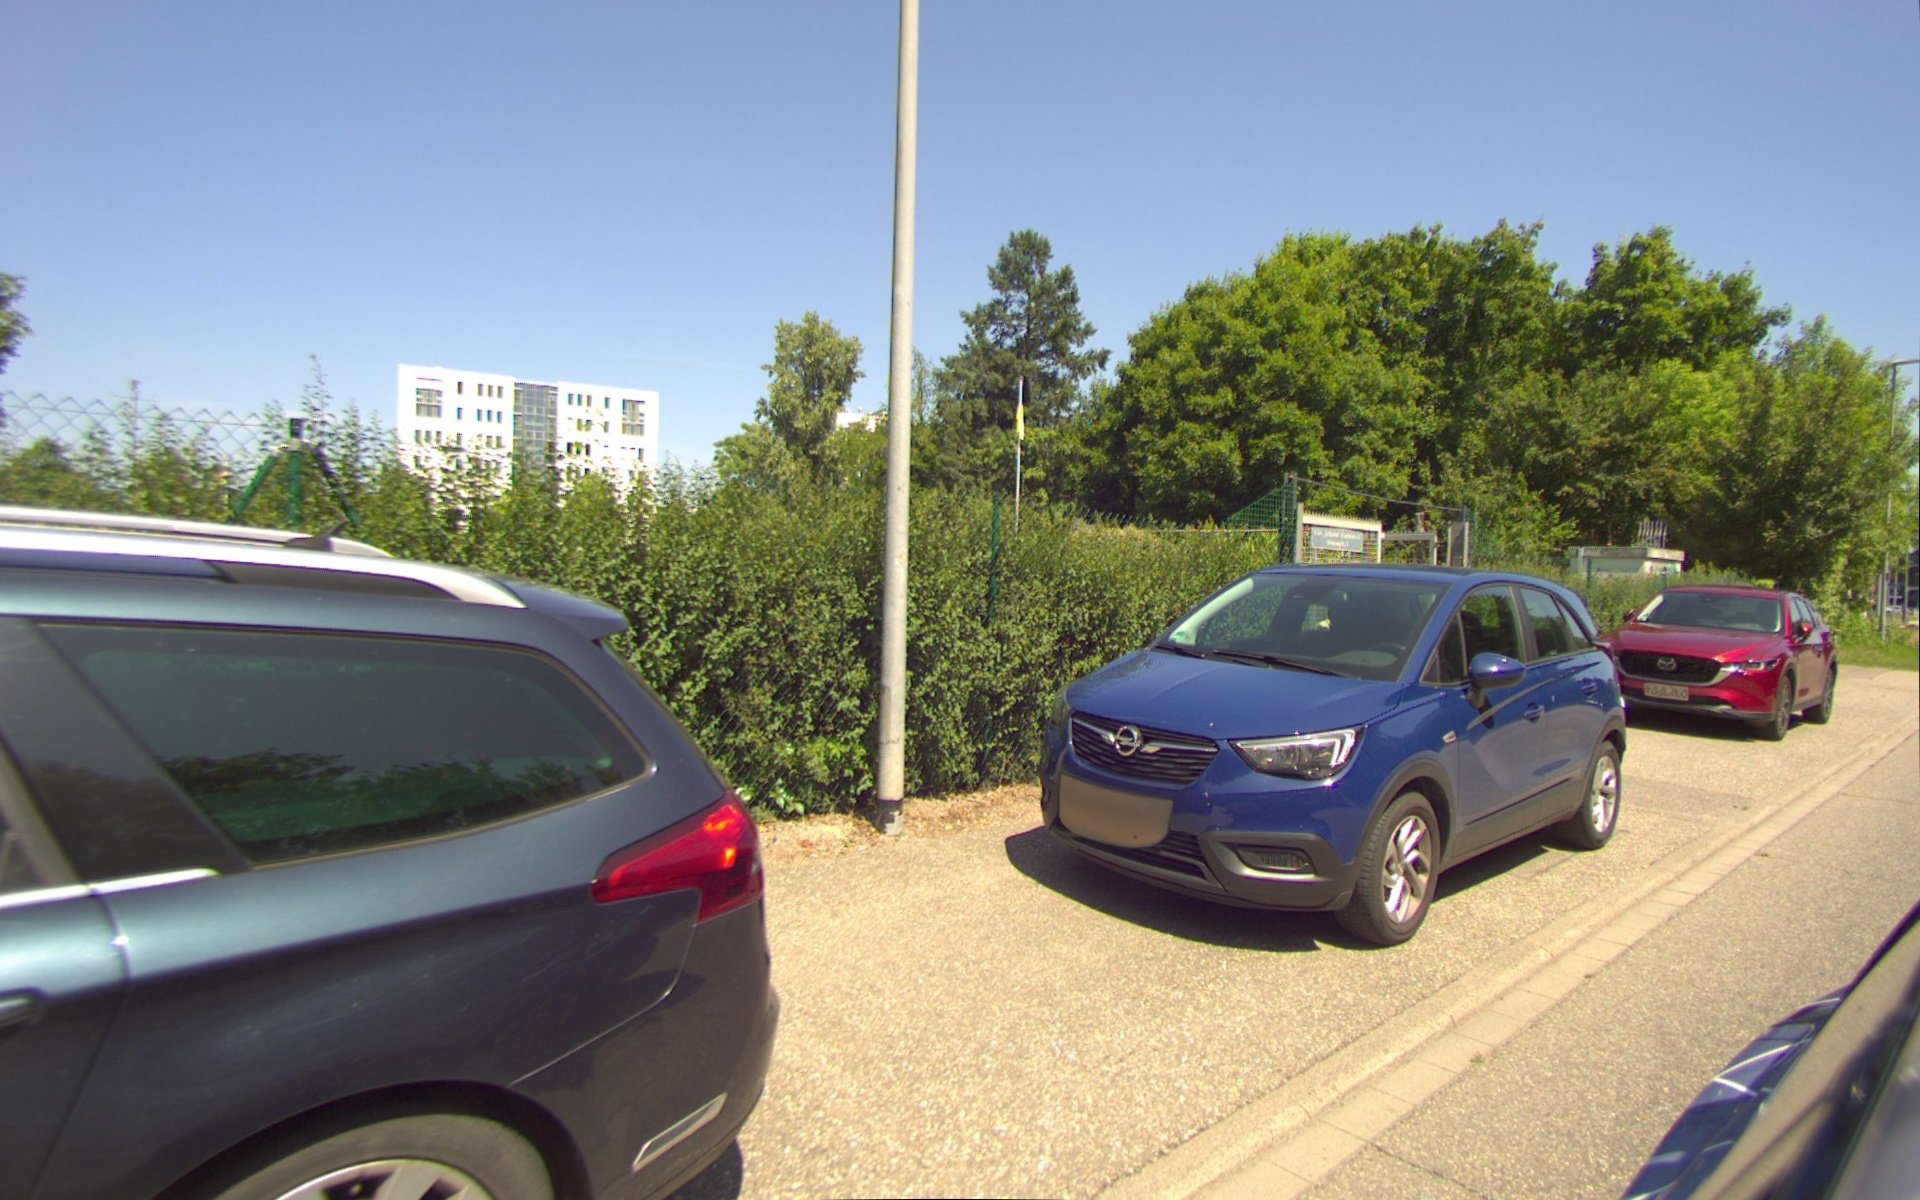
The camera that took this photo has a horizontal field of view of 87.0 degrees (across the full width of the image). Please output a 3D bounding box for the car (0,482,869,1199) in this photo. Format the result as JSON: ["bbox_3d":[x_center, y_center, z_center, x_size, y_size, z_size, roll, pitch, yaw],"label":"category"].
[{"bbox_3d":[-2.506,0.538,1.135,4.584,1.499,1.793,0,5,-42],"label":"car"}]

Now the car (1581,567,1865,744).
[{"bbox_3d":[9.402,0.555,12.341,4.374,1.678,1.794,0,4,-41],"label":"car"}]

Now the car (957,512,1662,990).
[{"bbox_3d":[2.113,0.501,5.452,4.057,1.623,1.793,1,1,-41],"label":"car"}]
